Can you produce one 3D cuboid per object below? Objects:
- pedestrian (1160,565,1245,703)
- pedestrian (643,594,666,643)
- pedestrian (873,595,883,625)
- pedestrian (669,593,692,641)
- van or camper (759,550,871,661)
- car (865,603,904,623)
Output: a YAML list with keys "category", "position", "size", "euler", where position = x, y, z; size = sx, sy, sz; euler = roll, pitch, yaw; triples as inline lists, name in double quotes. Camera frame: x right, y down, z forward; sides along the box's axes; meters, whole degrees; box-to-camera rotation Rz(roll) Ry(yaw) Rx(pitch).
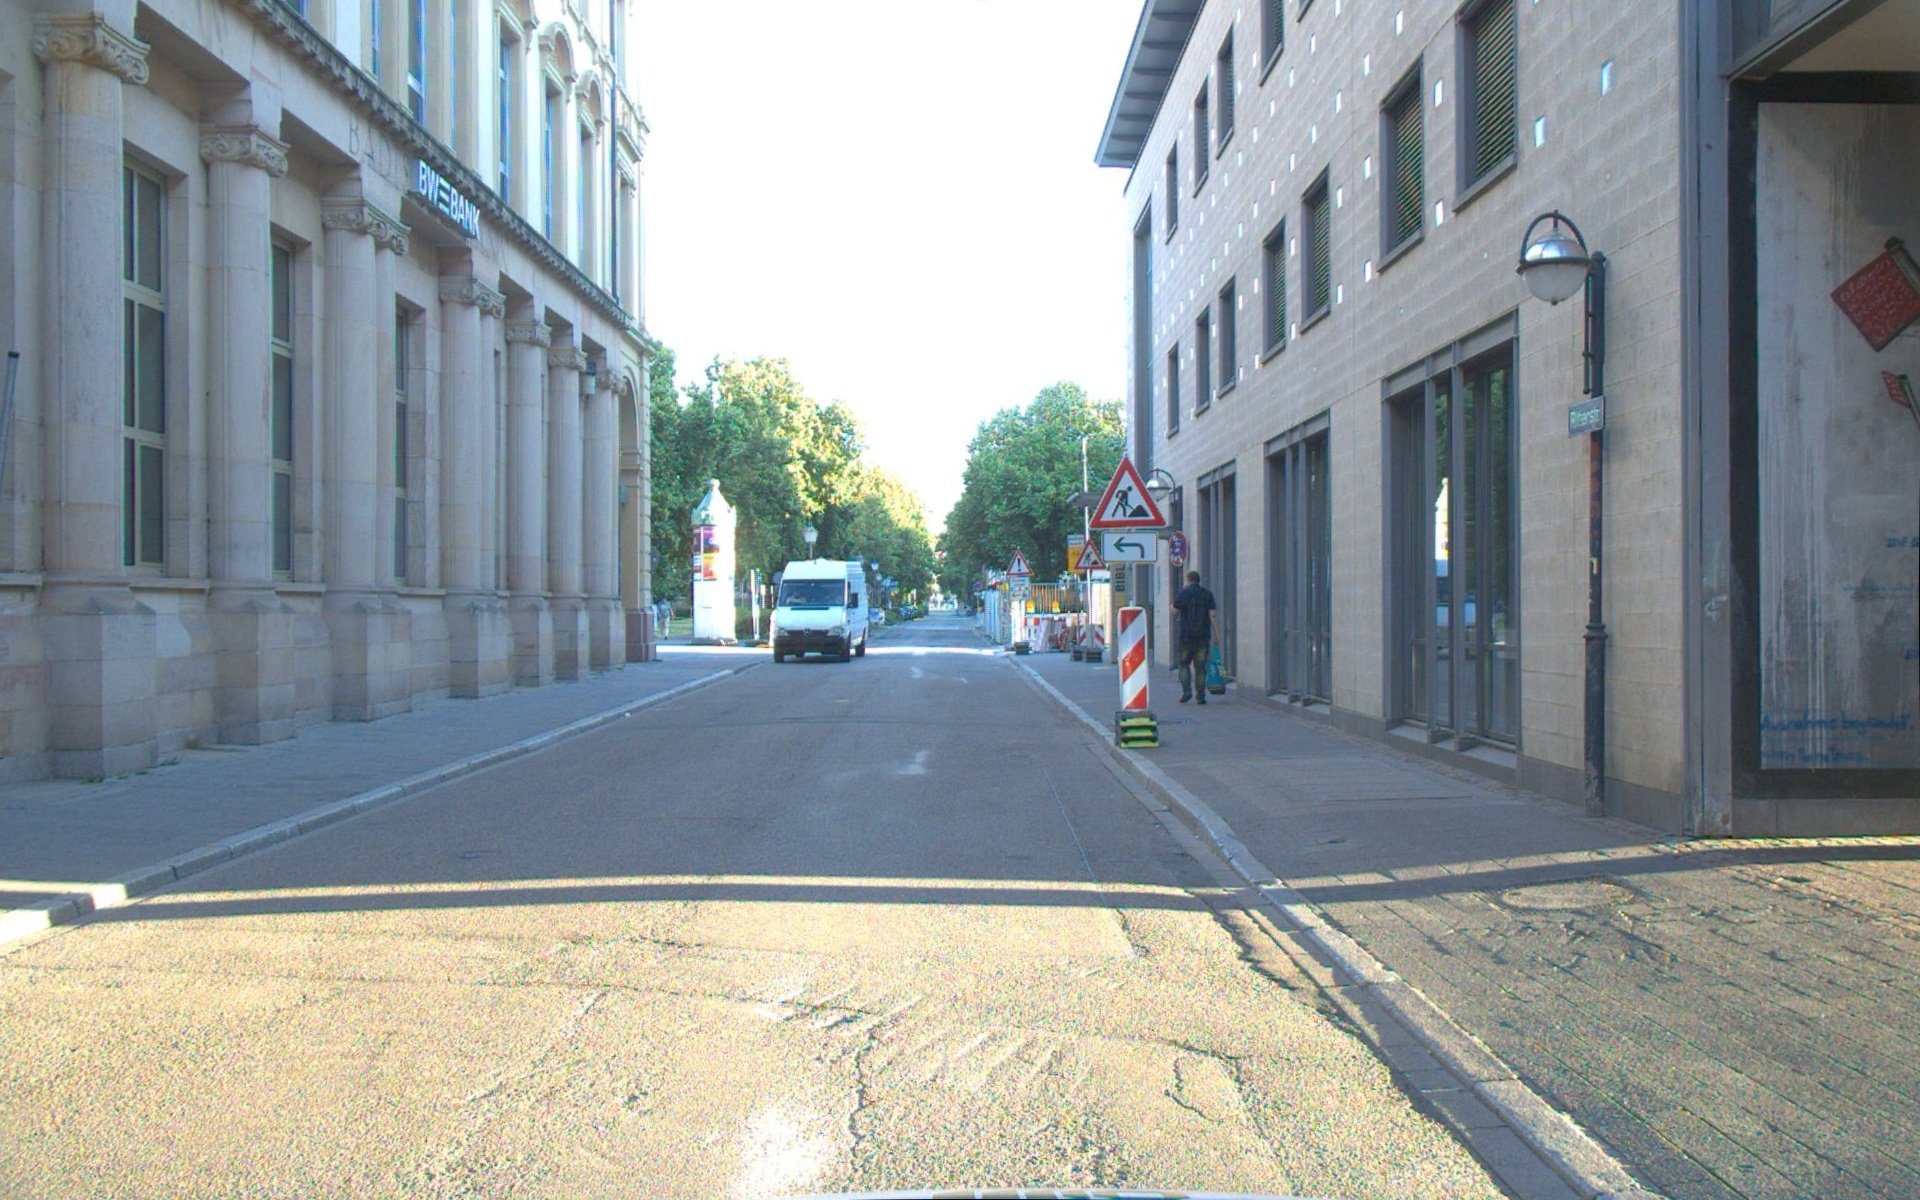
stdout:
- category: "pedestrian"
  position: [3.330, 0.463, 22.786]
  size: [0.980, 1.835, 0.881]
  euler: [-2, -1, -1]
- category: "pedestrian"
  position: [-11.709, 0.708, 63.353]
  size: [0.835, 1.839, 0.661]
  euler: [0, 0, -14]
- category: "pedestrian"
  position: [-5.653, 0.678, 114.241]
  size: [0.598, 2.049, 0.903]
  euler: [0, 0, -9]
- category: "pedestrian"
  position: [-10.763, 0.666, 63.643]
  size: [0.835, 1.839, 0.661]
  euler: [0, 0, -14]
- category: "van or camper"
  position: [-3.616, 0.113, 42.506]
  size: [2.173, 2.630, 6.373]
  euler: [0, 0, 1]
- category: "car"
  position: [-7.353, 1.254, 160.849]
  size: [3.486, 1.814, 1.791]
  euler: [-1, -1, 9]
